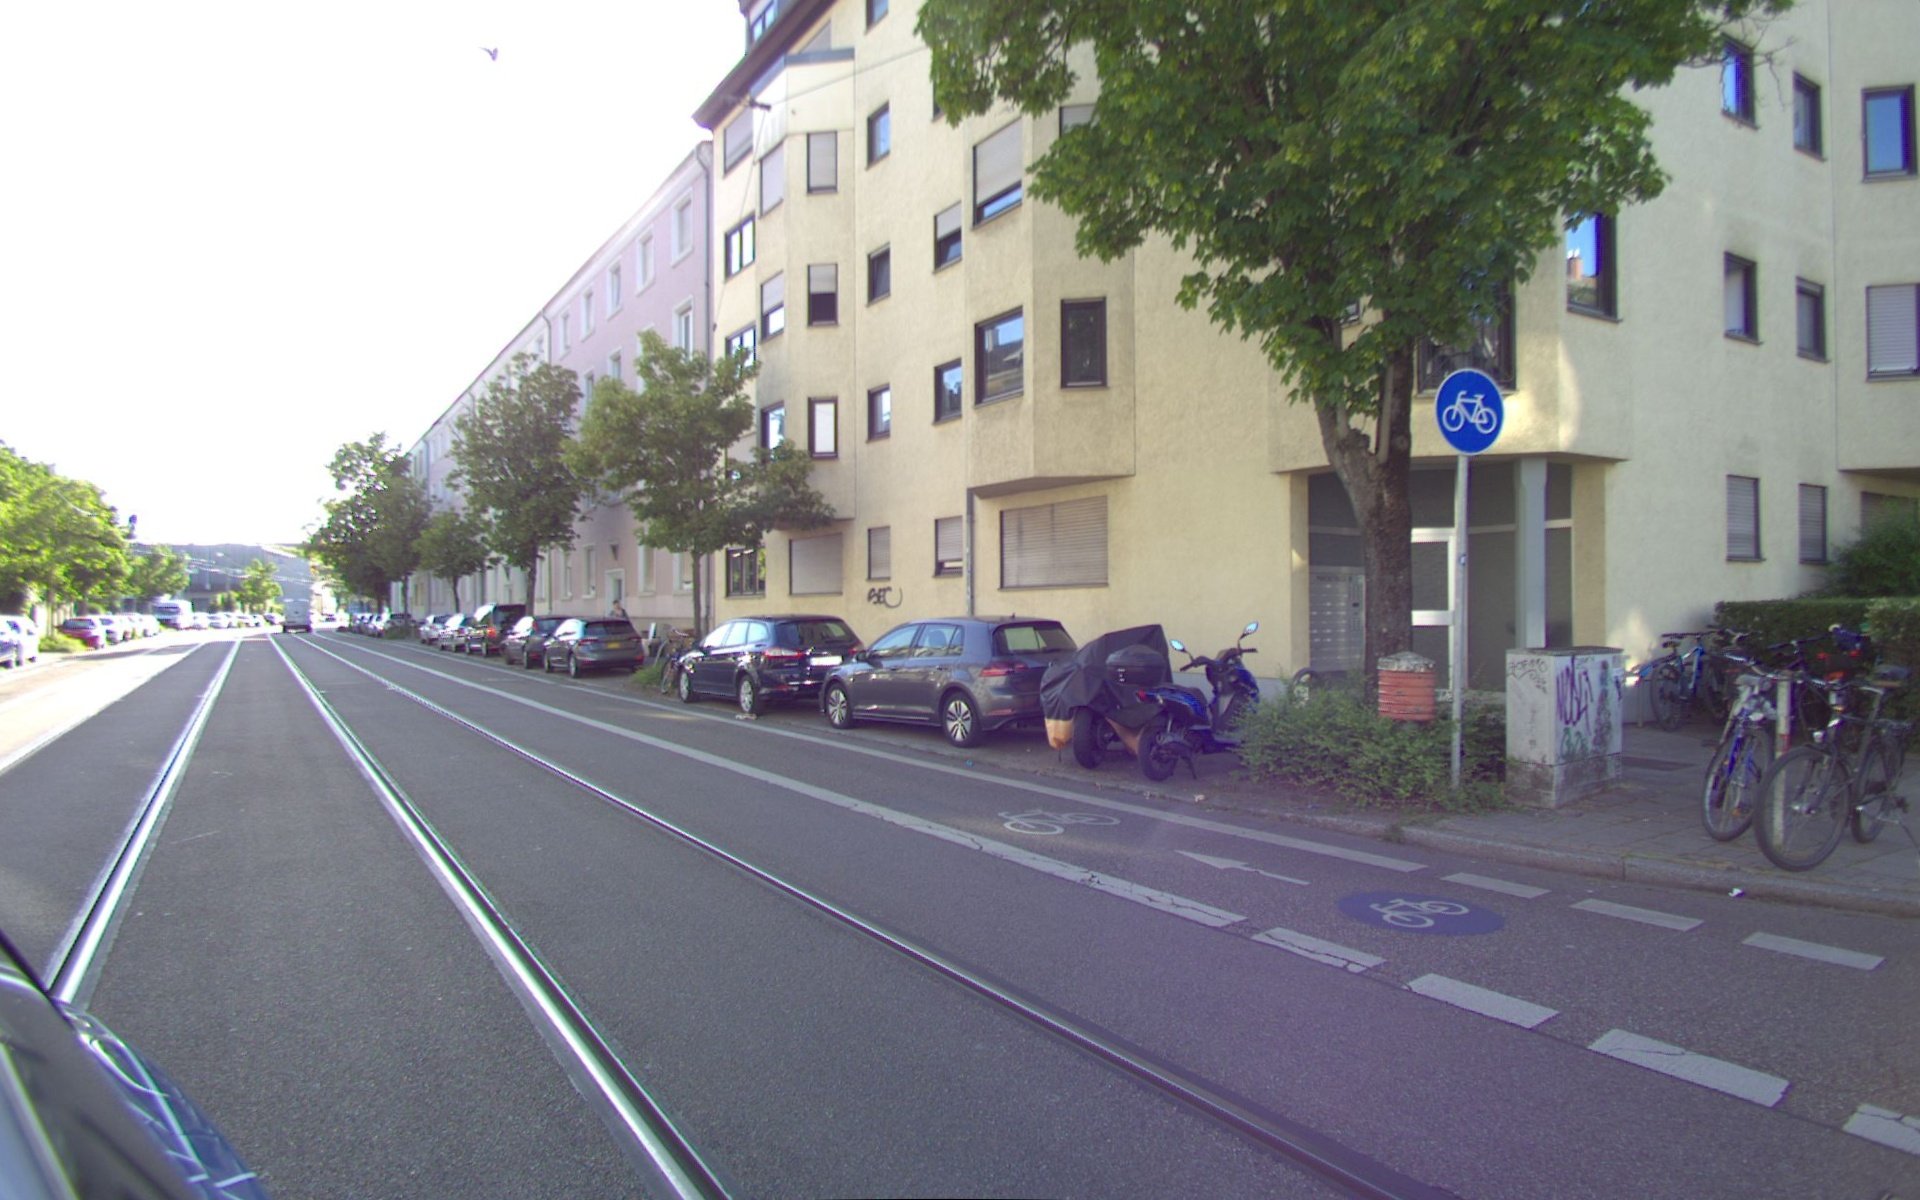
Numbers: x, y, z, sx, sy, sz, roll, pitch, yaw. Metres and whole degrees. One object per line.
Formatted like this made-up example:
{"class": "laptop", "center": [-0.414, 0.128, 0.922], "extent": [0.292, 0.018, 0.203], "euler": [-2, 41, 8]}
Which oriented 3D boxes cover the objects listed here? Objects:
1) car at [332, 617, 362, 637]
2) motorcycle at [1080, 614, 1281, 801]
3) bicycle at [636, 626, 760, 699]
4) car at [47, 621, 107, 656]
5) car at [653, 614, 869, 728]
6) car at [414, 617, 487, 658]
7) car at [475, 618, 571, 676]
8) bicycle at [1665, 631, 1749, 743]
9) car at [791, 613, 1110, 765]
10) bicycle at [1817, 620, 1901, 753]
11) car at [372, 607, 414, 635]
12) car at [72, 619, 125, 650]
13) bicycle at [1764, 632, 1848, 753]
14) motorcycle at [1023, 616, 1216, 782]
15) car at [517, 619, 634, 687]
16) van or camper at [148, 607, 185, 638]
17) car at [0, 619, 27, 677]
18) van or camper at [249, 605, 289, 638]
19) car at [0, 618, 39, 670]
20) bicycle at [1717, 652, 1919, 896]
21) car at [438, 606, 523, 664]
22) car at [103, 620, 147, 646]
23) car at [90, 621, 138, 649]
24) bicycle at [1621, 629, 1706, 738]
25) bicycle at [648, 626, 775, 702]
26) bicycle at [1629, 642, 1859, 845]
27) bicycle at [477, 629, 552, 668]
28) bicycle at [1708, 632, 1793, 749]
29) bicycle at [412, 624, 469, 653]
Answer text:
{"class": "car", "center": [-52.104, 2.275, 85.976], "extent": [1.662, 1.563, 3.958], "euler": [0, -1, -38]}
{"class": "motorcycle", "center": [1.979, 0.862, 8.908], "extent": [1.945, 1.458, 0.721], "euler": [0, -1, -42]}
{"class": "bicycle", "center": [-5.145, 1.196, 19.954], "extent": [2.262, 1.344, 0.701], "euler": [0, -1, -35]}
{"class": "car", "center": [-41.150, 1.770, 47.237], "extent": [1.587, 1.583, 4.489], "euler": [2, -2, -35]}
{"class": "car", "center": [-3.396, 1.028, 16.467], "extent": [1.741, 1.554, 4.746], "euler": [0, -1, -34]}
{"class": "car", "center": [-20.157, 1.436, 39.961], "extent": [1.742, 1.484, 4.869], "euler": [-1, -1, -37]}
{"class": "car", "center": [-12.874, 1.306, 29.681], "extent": [1.742, 1.484, 4.191], "euler": [-3, 1, -35]}
{"class": "bicycle", "center": [7.907, 0.889, 10.696], "extent": [1.371, 1.054, 0.333], "euler": [-2, 0, -38]}
{"class": "car", "center": [-0.279, 0.955, 12.596], "extent": [1.714, 1.554, 4.135], "euler": [0, -1, -41]}
{"class": "bicycle", "center": [8.586, 0.789, 9.653], "extent": [1.371, 1.152, 0.333], "euler": [-2, 0, -38]}
{"class": "car", "center": [-35.436, 1.303, 63.199], "extent": [1.662, 1.635, 4.056], "euler": [0, -1, -38]}
{"class": "car", "center": [-46.905, 1.860, 55.174], "extent": [1.800, 1.583, 4.489], "euler": [2, -2, -36]}
{"class": "bicycle", "center": [8.331, 0.875, 9.949], "extent": [1.371, 1.054, 0.333], "euler": [-2, 0, -38]}
{"class": "motorcycle", "center": [1.604, 0.900, 9.986], "extent": [1.945, 1.458, 0.837], "euler": [0, -1, -42]}
{"class": "car", "center": [-9.839, 1.271, 25.746], "extent": [1.742, 1.484, 4.051], "euler": [-3, 1, -36]}
{"class": "van or camper", "center": [-69.948, 1.928, 89.301], "extent": [2.057, 2.582, 5.709], "euler": [-1, 0, -33]}
{"class": "car", "center": [-27.454, 1.303, 28.149], "extent": [1.587, 1.583, 4.229], "euler": [2, -2, -35]}
{"class": "van or camper", "center": [-56.387, 1.703, 82.568], "extent": [2.339, 2.572, 6.849], "euler": [0, -1, -37]}
{"class": "car", "center": [-30.257, 1.358, 31.715], "extent": [1.532, 1.554, 3.641], "euler": [2, -2, -35]}
{"class": "bicycle", "center": [4.921, 0.868, 5.574], "extent": [1.851, 1.093, 0.597], "euler": [0, -1, -33]}
{"class": "car", "center": [-17.062, 1.208, 35.885], "extent": [1.742, 1.859, 4.433], "euler": [-3, 1, -38]}
{"class": "car", "center": [-52.664, 2.083, 63.856], "extent": [1.800, 1.583, 4.489], "euler": [2, -2, -36]}
{"class": "car", "center": [-49.931, 2.028, 59.801], "extent": [1.800, 1.583, 4.489], "euler": [2, -2, -36]}
{"class": "bicycle", "center": [7.591, 0.866, 10.900], "extent": [1.371, 1.054, 0.333], "euler": [-2, 0, -38]}
{"class": "bicycle", "center": [-4.724, 1.190, 19.353], "extent": [2.262, 1.344, 0.701], "euler": [0, -1, -35]}
{"class": "bicycle", "center": [5.009, 0.834, 6.432], "extent": [1.781, 1.093, 0.597], "euler": [0, -1, -33]}
{"class": "bicycle", "center": [-14.582, 1.578, 33.132], "extent": [2.084, 1.113, 0.748], "euler": [-3, 1, -37]}
{"class": "bicycle", "center": [8.048, 0.888, 10.287], "extent": [1.371, 1.054, 0.333], "euler": [-2, 0, -38]}
{"class": "bicycle", "center": [-22.782, 1.688, 44.417], "extent": [2.116, 1.151, 0.661], "euler": [-2, 0, -39]}
